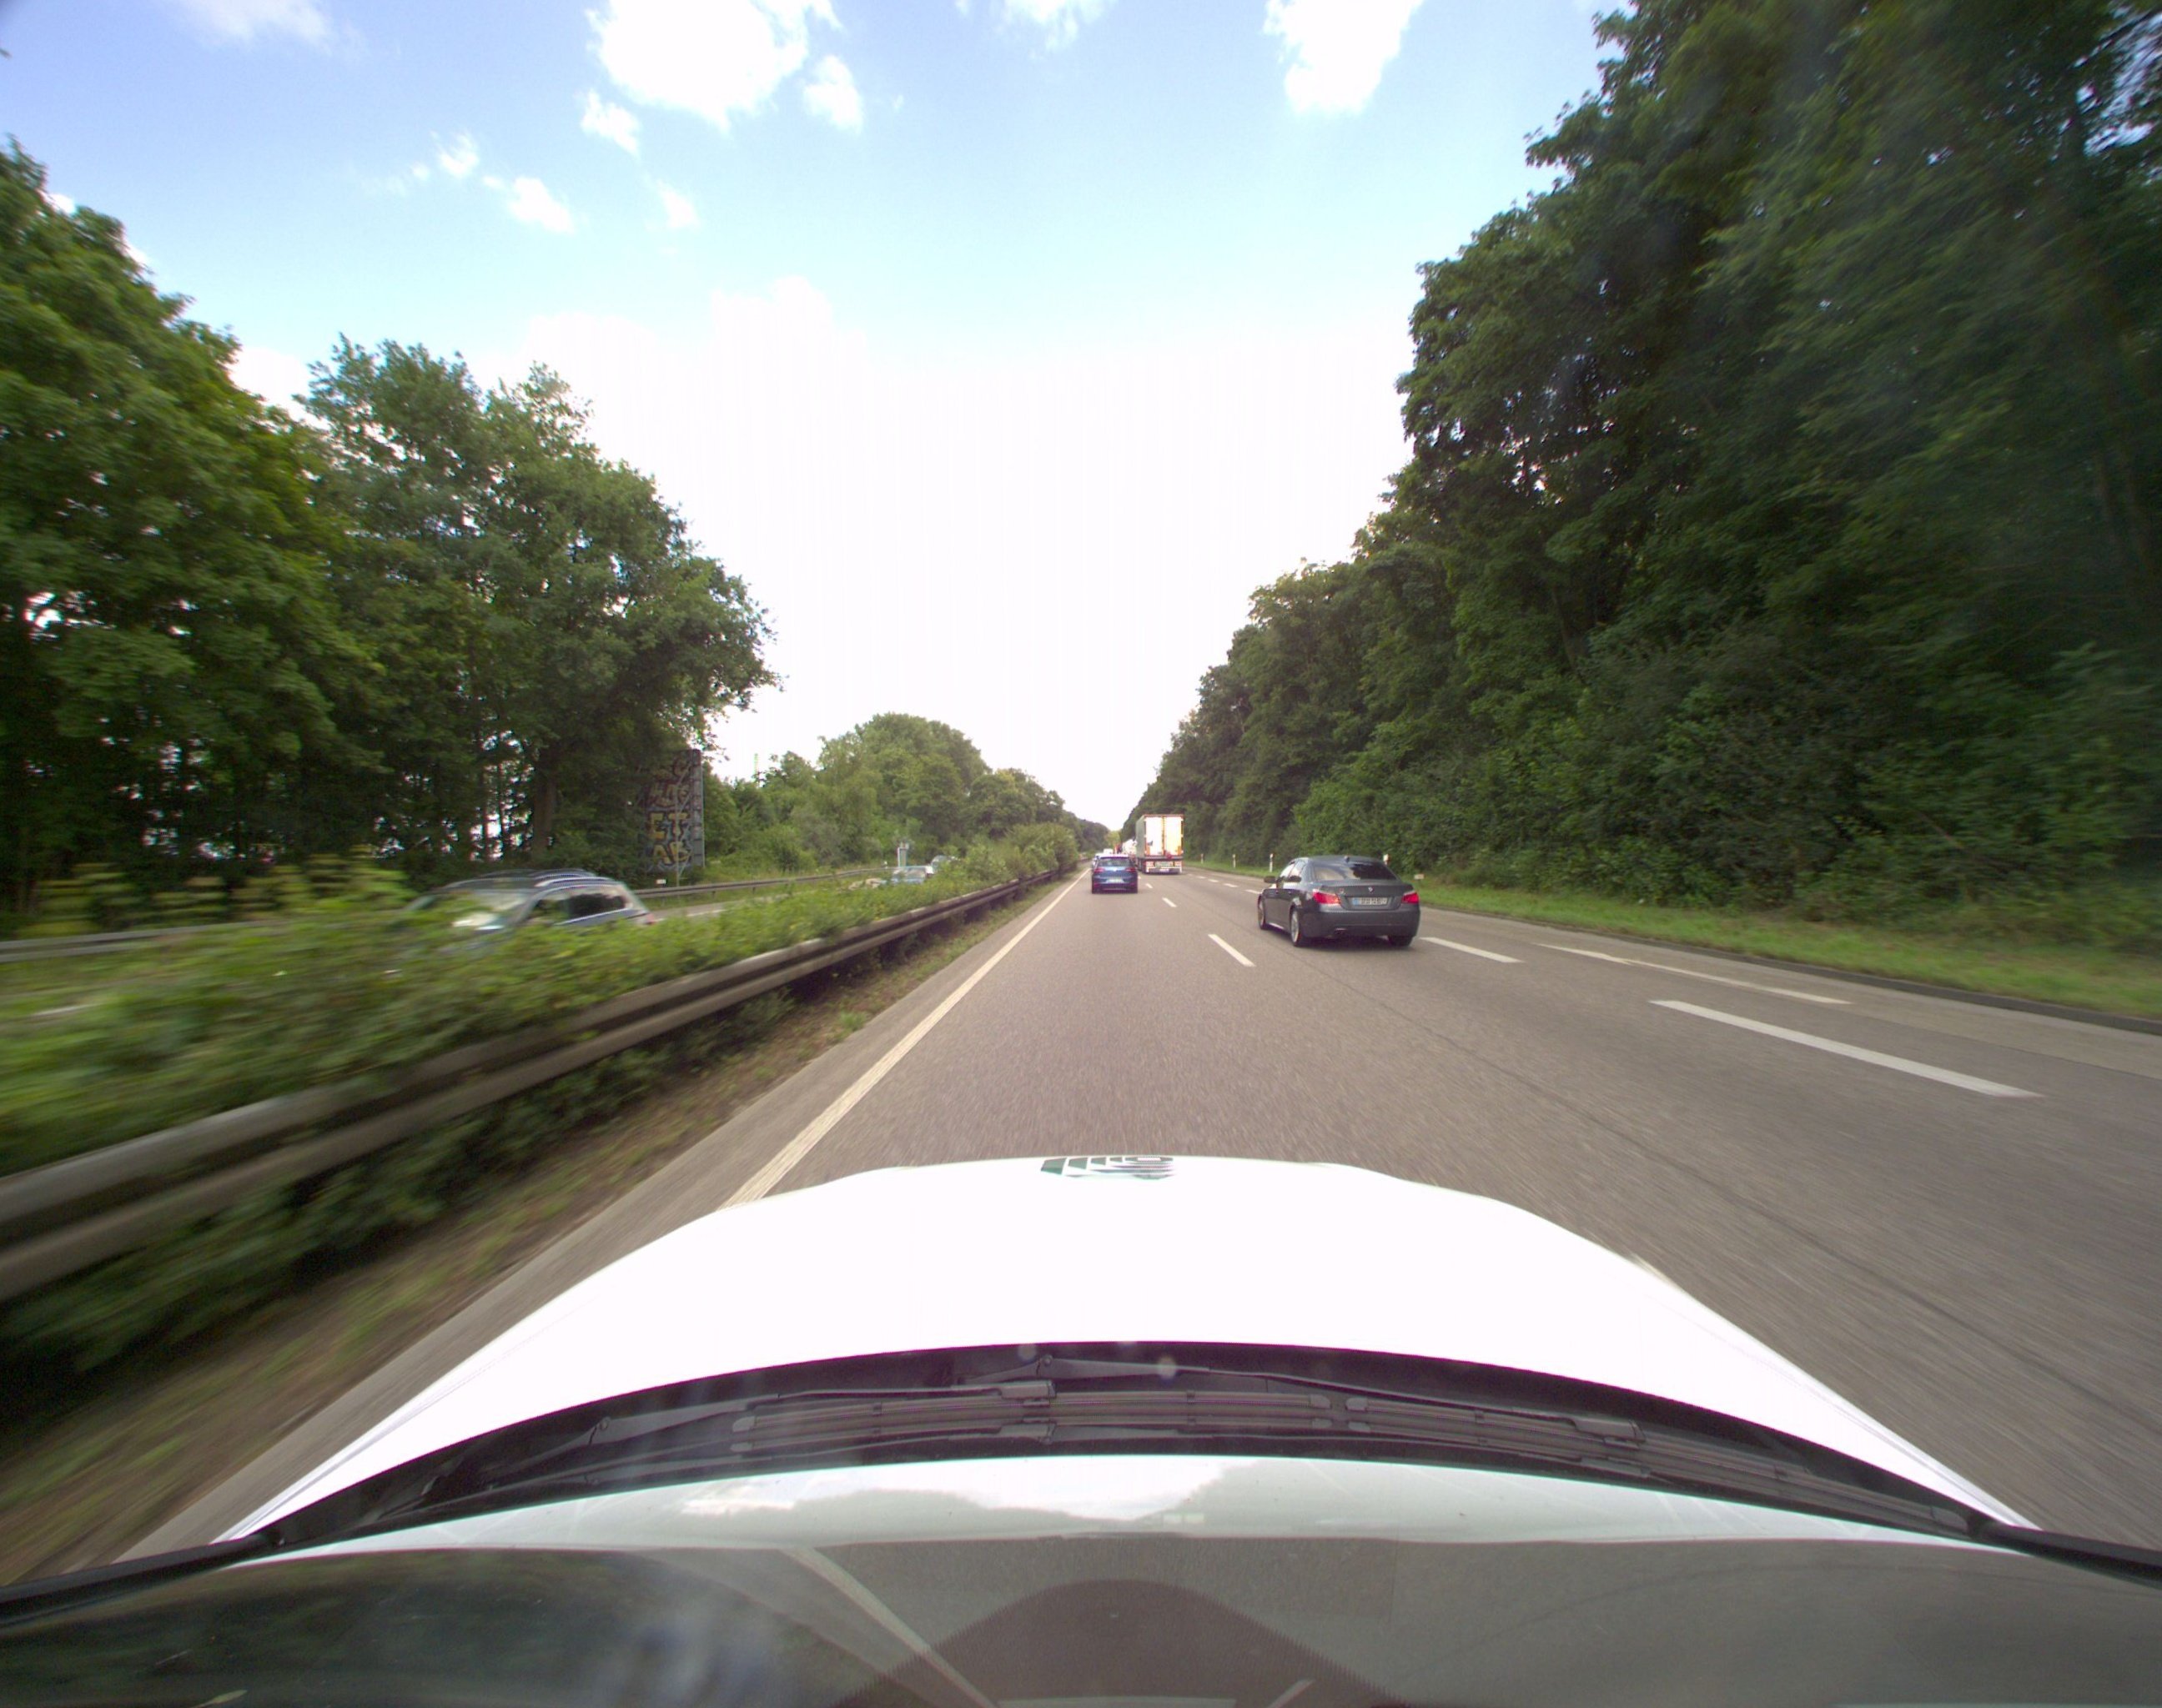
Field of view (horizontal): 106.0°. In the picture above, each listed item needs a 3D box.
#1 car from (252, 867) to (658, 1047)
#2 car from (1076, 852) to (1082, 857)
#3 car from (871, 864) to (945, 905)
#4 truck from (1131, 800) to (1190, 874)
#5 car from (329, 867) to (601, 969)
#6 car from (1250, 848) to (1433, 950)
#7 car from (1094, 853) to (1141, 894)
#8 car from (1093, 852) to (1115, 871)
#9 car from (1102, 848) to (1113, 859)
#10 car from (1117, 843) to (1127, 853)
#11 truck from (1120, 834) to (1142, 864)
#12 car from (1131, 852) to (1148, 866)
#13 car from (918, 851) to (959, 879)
[{"bbox_3d":[-7.117,1.029,9.899,1.710,1.630,4.002,-2,0,2],"label":"car"},{"bbox_3d":[-0.576,0.043,235.988,1.671,1.454,4.130,-2,0,3],"label":"car"},{"bbox_3d":[-6.799,1.151,32.512,1.777,1.432,4.719,0,0,2],"label":"car"},{"bbox_3d":[5.501,-1.131,58.206,3.230,4.716,11.009,-2,0,1],"label":"truck"},{"bbox_3d":[-11.915,1.135,16.263,1.821,1.661,4.597,0,0,2],"label":"car"},{"bbox_3d":[4.278,0.648,14.231,1.768,1.475,4.882,0,0,1],"label":"car"},{"bbox_3d":[1.382,0.691,31.477,1.699,1.470,4.001,0,0,1],"label":"car"},{"bbox_3d":[1.913,0.583,66.805,1.659,1.500,4.154,-1,0,2],"label":"car"},{"bbox_3d":[5.639,-0.146,174.383,1.987,2.255,4.440,-2,0,-1],"label":"car"},{"bbox_3d":[9.459,-1.354,188.887,1.987,2.327,4.440,-2,0,-1],"label":"car"},{"bbox_3d":[7.838,-0.673,127.953,3.218,4.386,12.981,-1,0,3],"label":"truck"},{"bbox_3d":[7.287,0.617,101.272,1.881,1.729,4.002,-2,0,2],"label":"car"},{"bbox_3d":[-10.133,0.749,58.313,1.986,1.869,4.279,-2,0,2],"label":"car"}]
